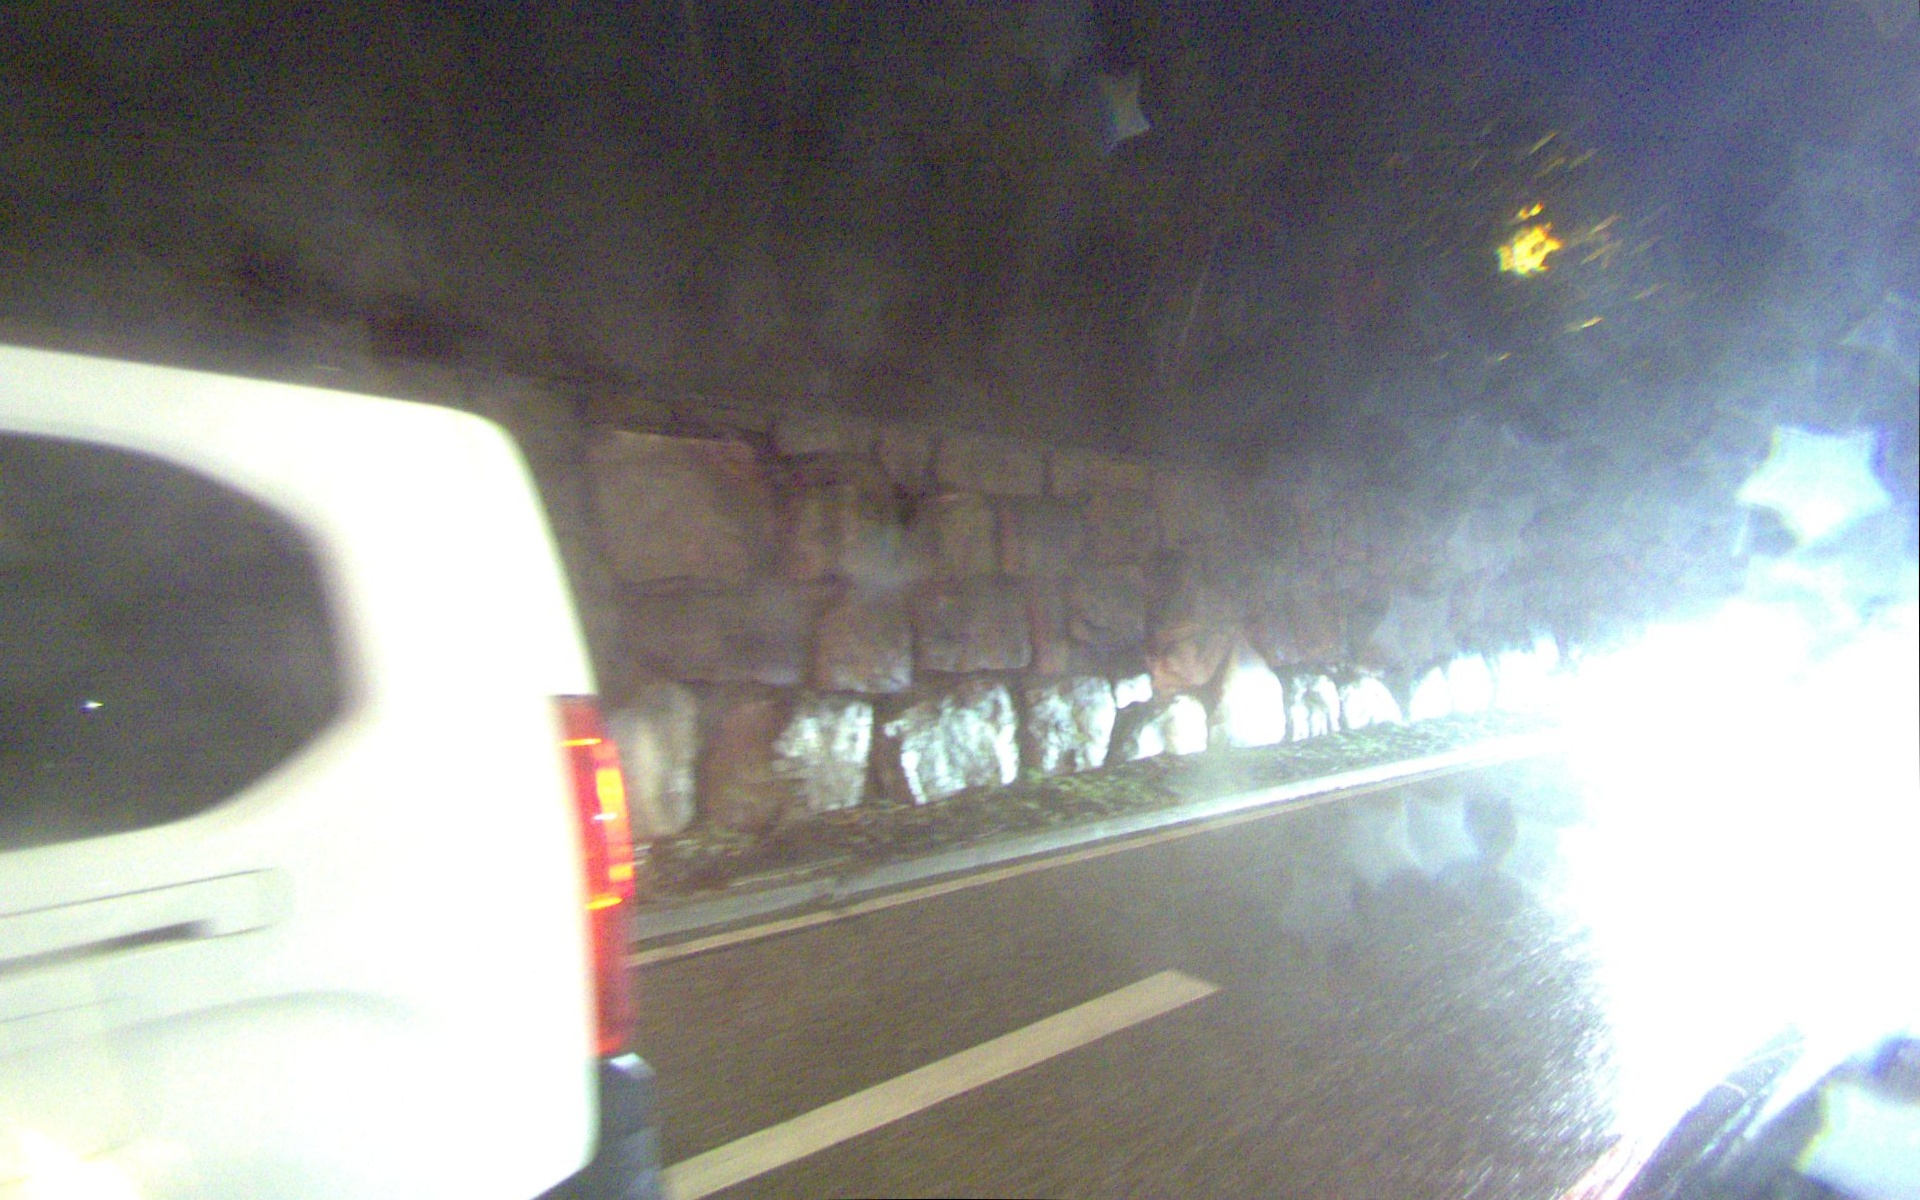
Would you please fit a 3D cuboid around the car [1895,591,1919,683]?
[{"bbox_3d":[19.508,0.668,19.433,4.358,1.669,1.787,0,0,-41],"label":"car"}]

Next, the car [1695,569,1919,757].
[{"bbox_3d":[9.840,0.565,11.164,4.142,1.715,1.790,0,0,-39],"label":"car"}]

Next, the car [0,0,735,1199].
[{"bbox_3d":[-2.601,0.383,0.707,4.502,2.047,1.793,0,0,-43],"label":"car"}]
